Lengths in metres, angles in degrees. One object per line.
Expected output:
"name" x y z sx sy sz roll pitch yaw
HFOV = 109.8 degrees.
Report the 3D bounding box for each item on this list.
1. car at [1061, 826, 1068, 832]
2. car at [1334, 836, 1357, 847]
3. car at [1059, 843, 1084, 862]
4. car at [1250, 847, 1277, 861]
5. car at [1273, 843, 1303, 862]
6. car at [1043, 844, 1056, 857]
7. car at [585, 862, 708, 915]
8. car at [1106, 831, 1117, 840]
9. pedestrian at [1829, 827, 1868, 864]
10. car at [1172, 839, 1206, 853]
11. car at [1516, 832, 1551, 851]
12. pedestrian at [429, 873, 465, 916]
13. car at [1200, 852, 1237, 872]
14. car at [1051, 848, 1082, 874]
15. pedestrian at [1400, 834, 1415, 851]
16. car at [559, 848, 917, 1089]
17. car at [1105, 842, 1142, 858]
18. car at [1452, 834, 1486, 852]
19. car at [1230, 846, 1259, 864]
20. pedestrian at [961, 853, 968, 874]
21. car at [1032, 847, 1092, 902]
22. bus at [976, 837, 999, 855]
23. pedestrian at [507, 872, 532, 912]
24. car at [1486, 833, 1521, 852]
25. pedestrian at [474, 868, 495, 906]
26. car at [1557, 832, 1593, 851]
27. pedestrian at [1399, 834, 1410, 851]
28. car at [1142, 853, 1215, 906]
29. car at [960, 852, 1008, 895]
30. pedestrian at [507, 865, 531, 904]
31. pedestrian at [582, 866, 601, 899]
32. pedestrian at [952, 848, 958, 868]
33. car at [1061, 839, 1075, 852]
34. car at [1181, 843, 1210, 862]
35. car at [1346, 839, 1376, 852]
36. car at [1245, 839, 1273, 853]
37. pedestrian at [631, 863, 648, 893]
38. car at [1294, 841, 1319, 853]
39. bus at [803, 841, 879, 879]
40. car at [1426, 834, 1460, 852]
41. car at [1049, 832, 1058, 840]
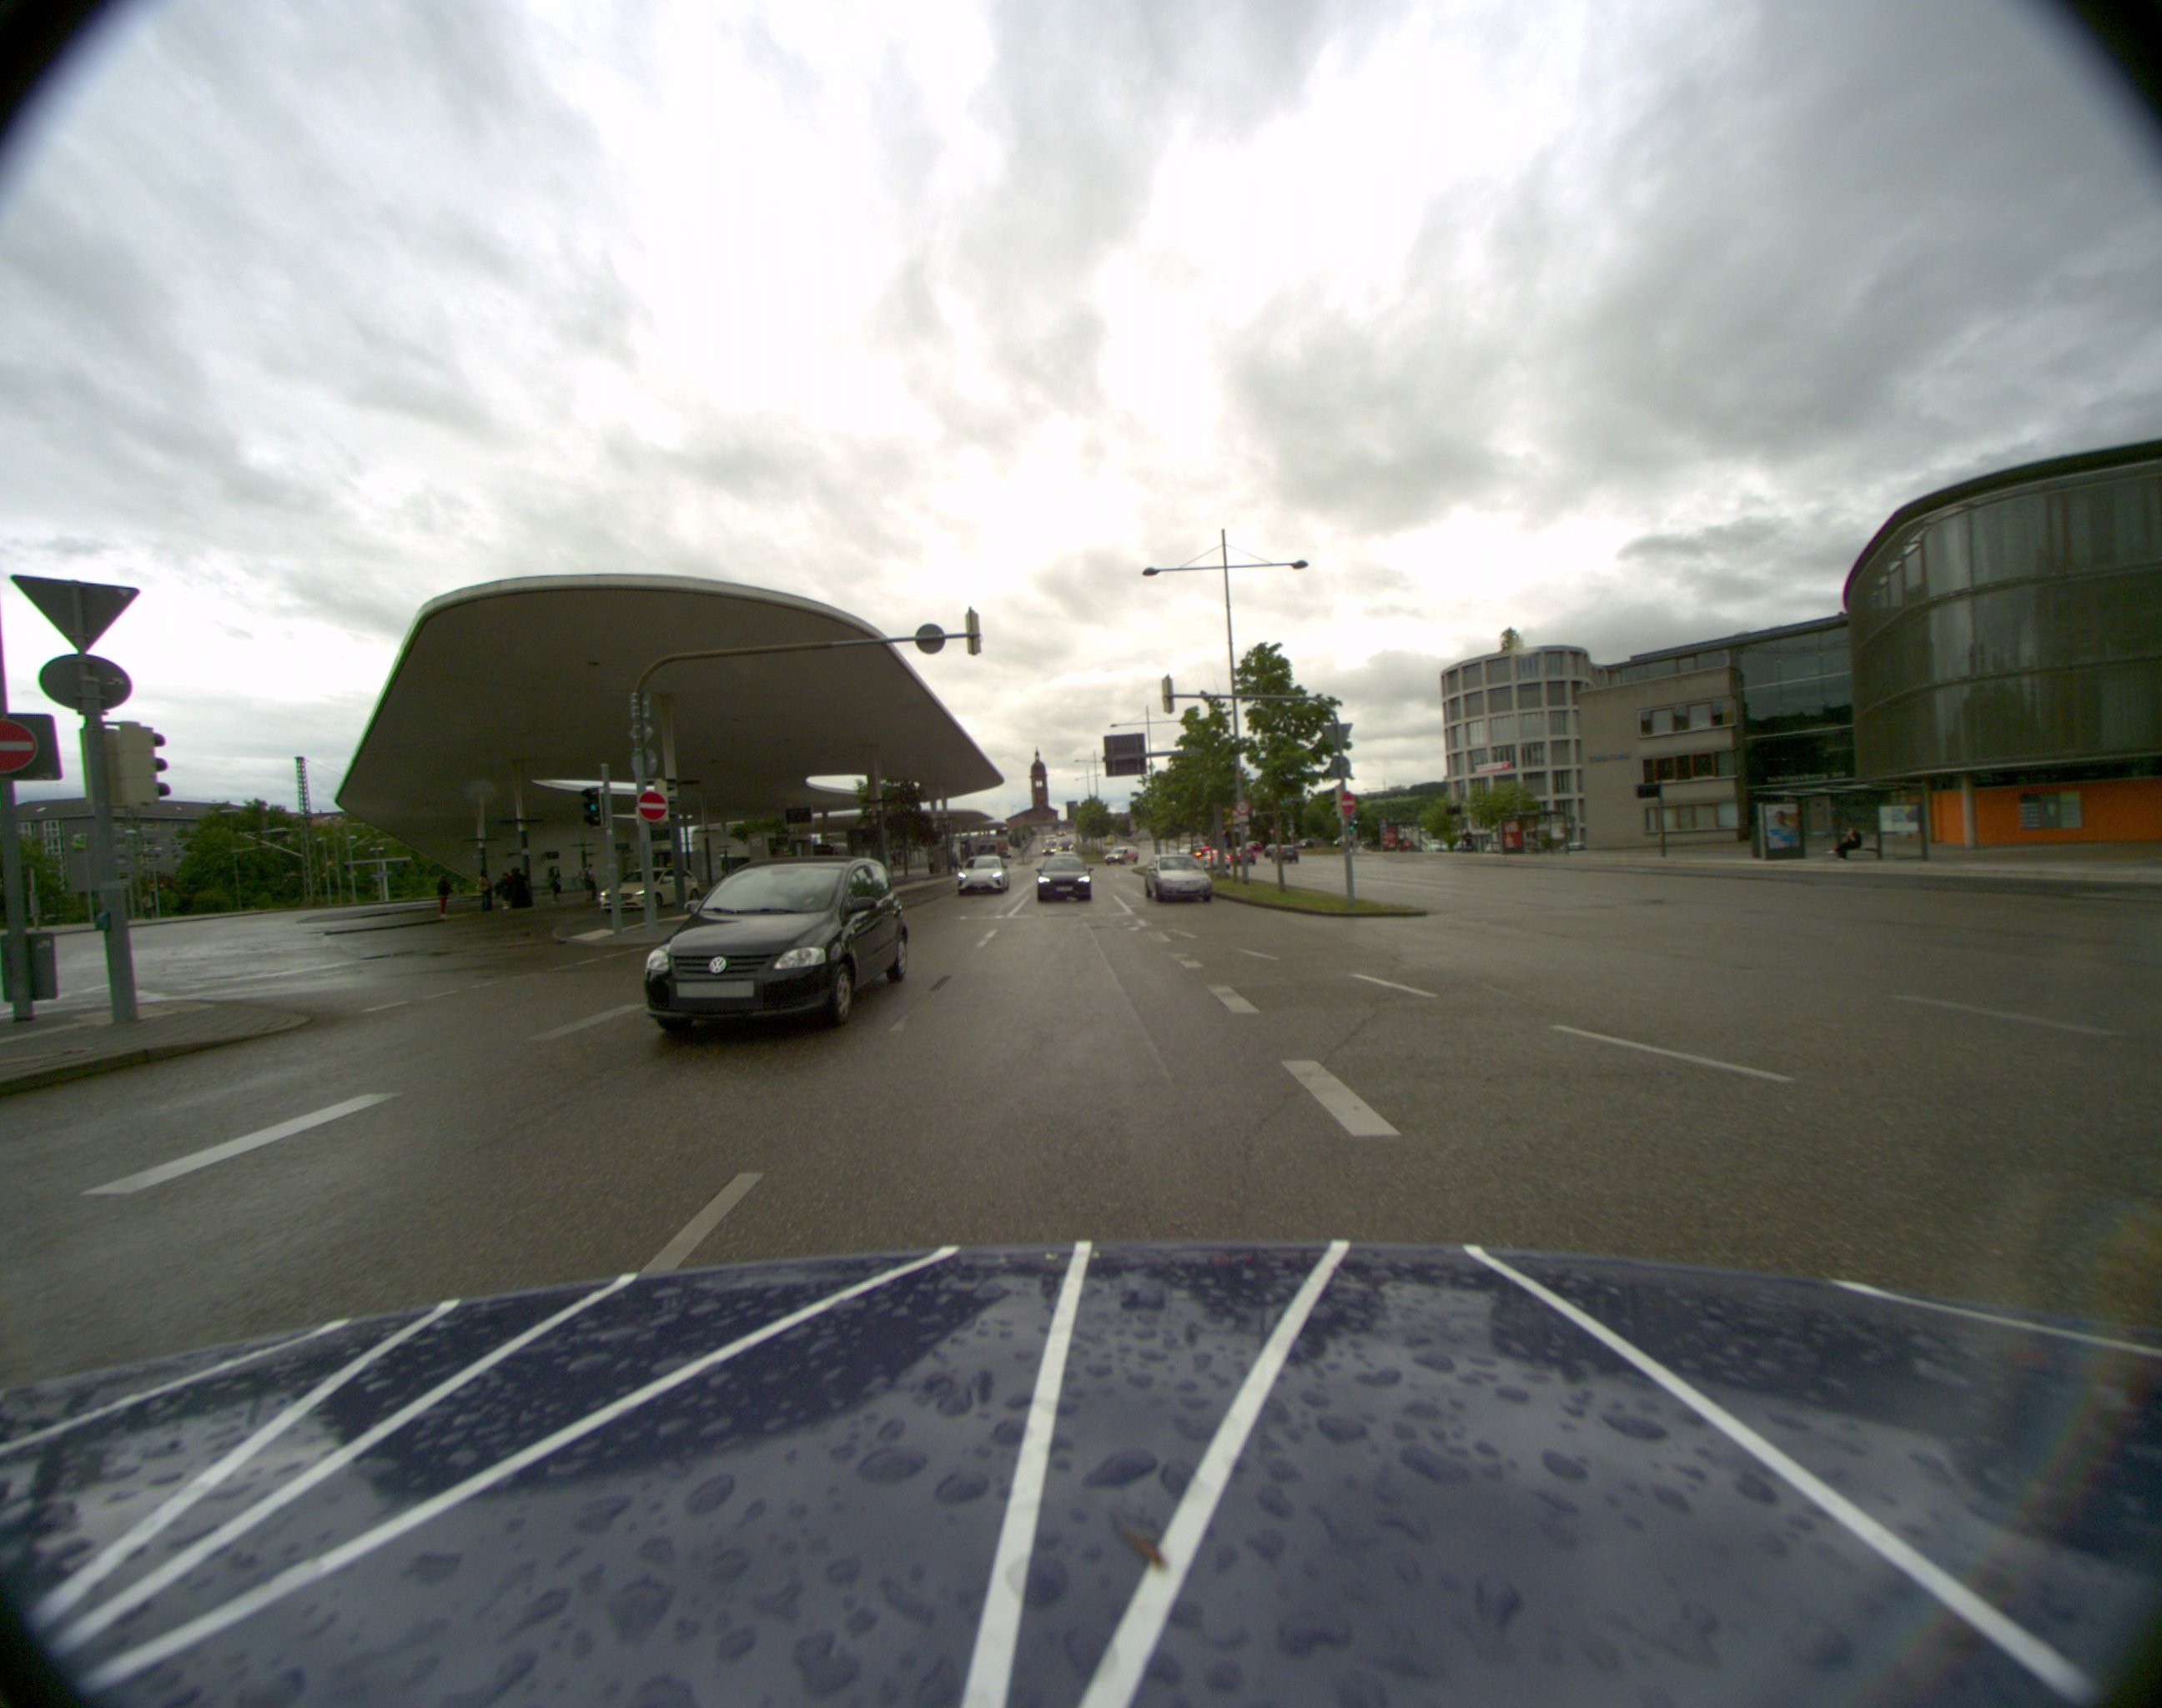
"car" -4.385 -6.607 202.079 1.650 1.552 3.647 -1 1 -6
"car" 41.145 -1.983 118.179 1.889 1.704 4.226 0 2 41
"car" -0.867 -0.161 66.273 1.876 1.625 4.154 -1 1 -5
"car" 19.808 -0.015 82.557 1.960 1.414 3.999 -1 1 -1
"car" 17.785 -0.140 65.477 1.681 1.503 3.863 -1 1 3
"car" -5.035 -0.549 123.072 1.999 2.002 3.999 -1 1 -1
"car" -16.160 1.228 28.592 1.999 1.671 4.540 -1 1 0
"car" 5.837 -3.504 146.143 1.875 1.624 4.158 -2 1 5
"pedestrian" 27.769 -0.312 27.491 0.668 1.292 0.720 -1 2 5
"car" 12.993 -0.993 91.253 1.871 1.625 4.293 0 2 42
"car" 42.550 -1.147 71.345 1.871 1.692 4.165 0 2 45
"pedestrian" -24.250 1.546 29.072 0.641 1.586 0.741 -1 2 14
"car" 10.431 0.565 57.991 2.010 1.345 4.163 -1 1 0
"car" -1.034 0.437 51.613 1.876 1.625 4.298 -1 1 -4
"pedestrian" 28.516 -1.034 66.363 0.983 1.482 0.734 -1 2 10
"car" -3.021 0.850 7.818 1.876 1.692 4.155 -1 2 -2
"car" 4.587 -0.407 80.978 1.871 1.625 4.165 0 2 38
"car" 38.337 -1.136 75.022 1.871 1.692 4.165 0 2 45
"car" 14.142 0.085 65.960 1.698 1.457 4.452 -1 1 3
"pedestrian" -10.027 0.790 65.353 0.446 1.754 0.536 -2 1 -18
"car" -0.584 0.628 26.088 1.875 1.692 4.156 -1 1 0
"bus" -17.104 -1.422 138.340 3.585 3.080 10.744 -2 1 -9
"pedestrian" -22.068 1.482 29.849 0.534 1.505 0.479 -2 1 4
"car" 40.528 -1.152 72.898 1.872 1.692 4.165 -1 1 45
"pedestrian" -24.571 1.348 31.274 0.533 1.505 0.480 -1 2 34
"car" 44.725 -1.141 68.750 1.871 1.692 4.165 0 2 45
"pedestrian" 28.630 -1.054 67.309 0.732 1.482 0.734 -1 2 8
"car" 3.004 0.744 24.070 1.699 1.457 3.719 -1 1 -2
"car" -3.949 0.758 31.474 1.812 1.550 4.046 -1 1 -6
"pedestrian" -22.677 1.228 30.683 0.534 1.505 0.479 -2 1 4
"pedestrian" -22.584 1.299 35.053 0.478 1.505 0.535 -2 1 3
"pedestrian" -10.831 0.347 65.409 0.445 1.754 0.537 -2 1 -7
"car" -2.218 -1.433 125.568 1.999 2.002 3.997 -1 1 -6
"car" 9.859 -0.161 65.490 2.010 1.545 4.164 -1 1 2
"car" 36.506 -1.091 99.008 4.216 1.609 1.956 -2 2 -45
"car" 23.593 -1.063 100.473 1.872 1.624 4.165 -1 1 39
"pedestrian" -22.653 1.228 38.995 0.478 1.505 0.535 -2 1 3
"car" 32.621 -1.054 109.896 1.889 1.704 4.226 0 2 40
"bus" -20.925 0.421 67.203 2.876 3.064 11.919 -1 1 0
"car" 36.614 -1.137 76.845 1.871 1.692 4.165 0 2 45
"car" -5.600 -3.635 156.151 1.650 1.552 3.647 -1 1 -6
